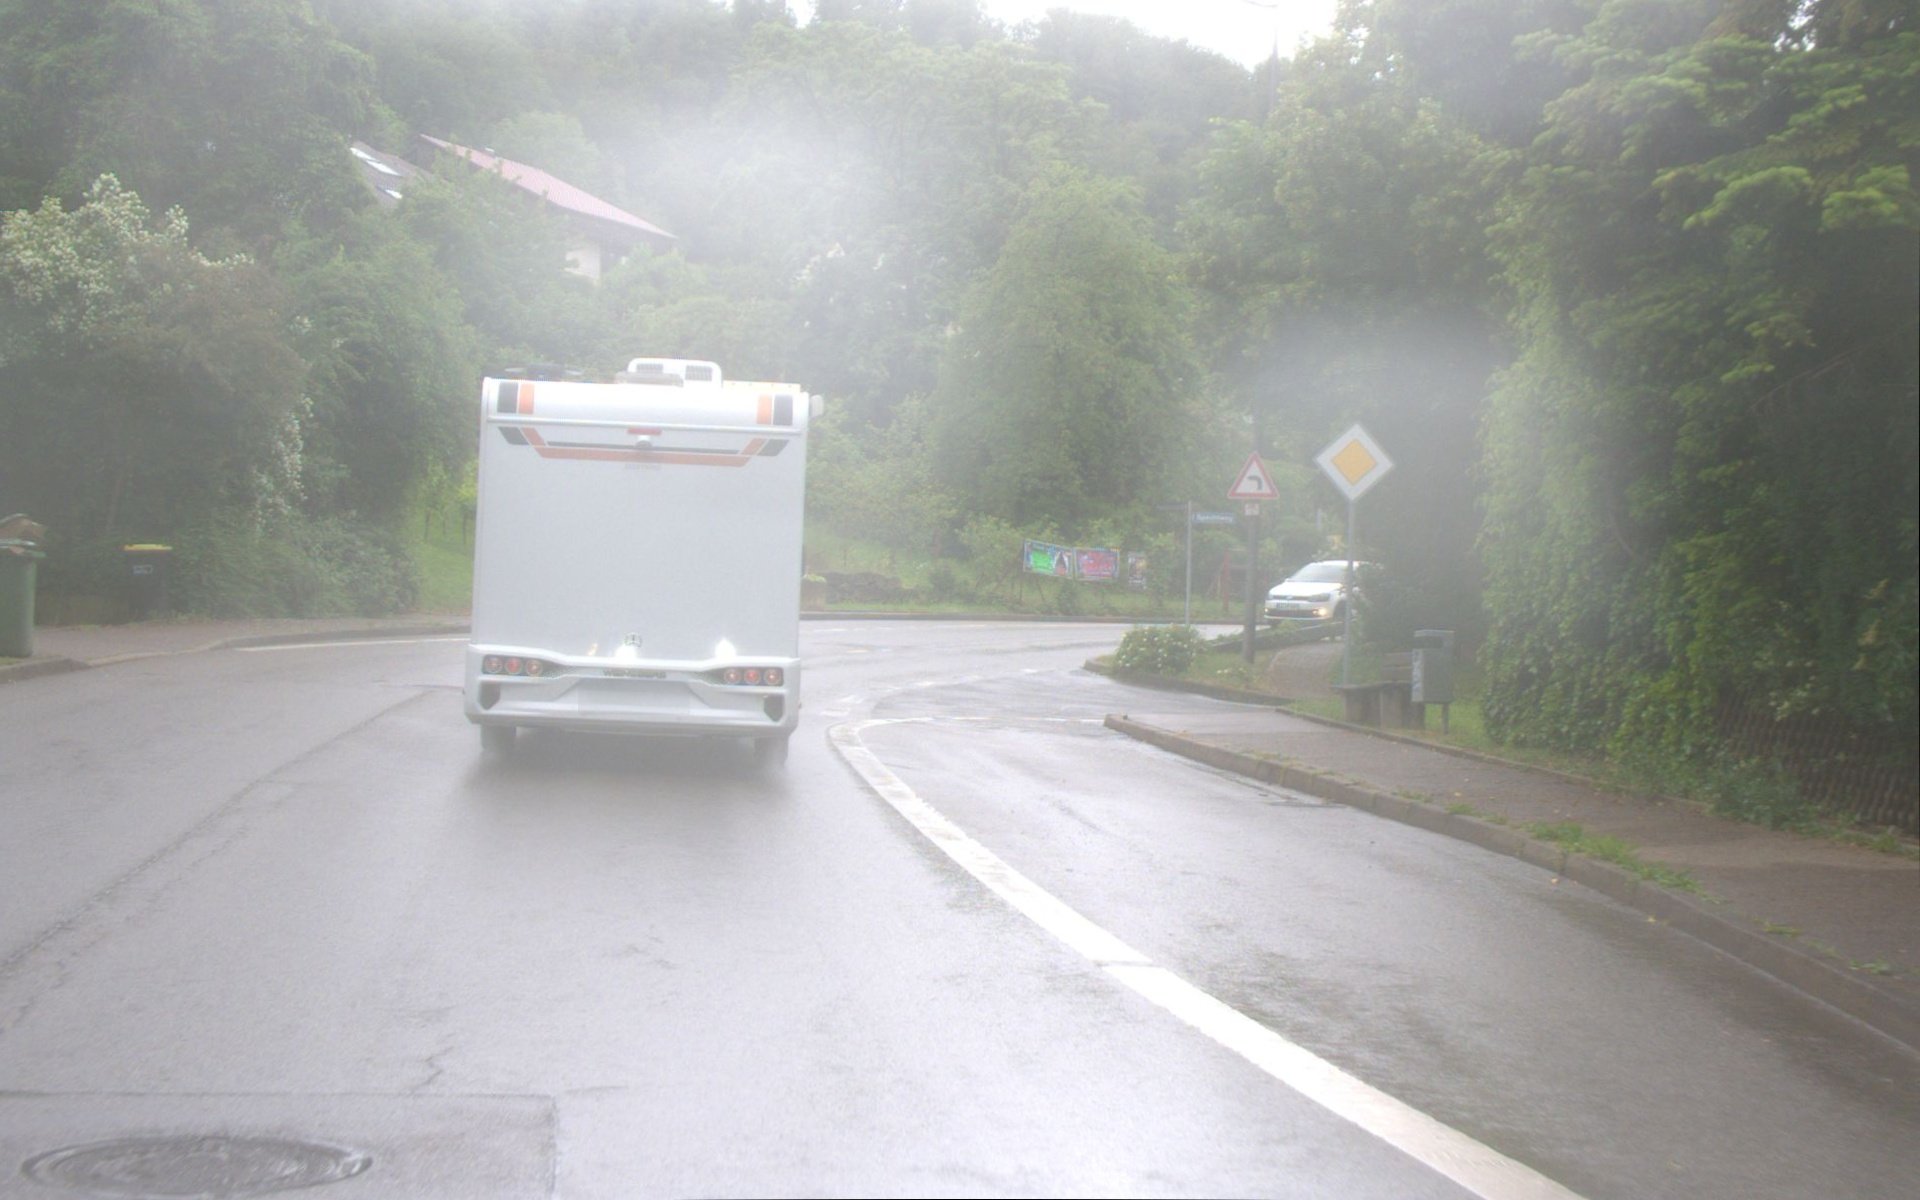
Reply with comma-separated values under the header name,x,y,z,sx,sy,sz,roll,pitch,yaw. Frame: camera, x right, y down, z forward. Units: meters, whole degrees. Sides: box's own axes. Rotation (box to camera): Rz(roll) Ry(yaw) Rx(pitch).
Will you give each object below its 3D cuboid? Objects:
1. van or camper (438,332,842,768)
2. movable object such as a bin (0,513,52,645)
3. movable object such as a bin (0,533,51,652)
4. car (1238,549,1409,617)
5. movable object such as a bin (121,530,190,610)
name,x,y,z,sx,sy,sz,roll,pitch,yaw
van or camper,-2.302,-0.307,26.095,2.615,2.843,6.031,2,-1,-3
movable object such as a bin,-9.229,-0.213,33.247,0.741,1.249,0.758,2,1,-7
movable object such as a bin,-9.003,-0.082,32.373,0.741,1.090,0.758,2,1,-7
car,7.714,-0.351,72.772,1.895,1.383,3.992,-1,0,35
movable object such as a bin,-10.473,-0.393,44.782,0.755,1.019,0.744,2,1,-6
